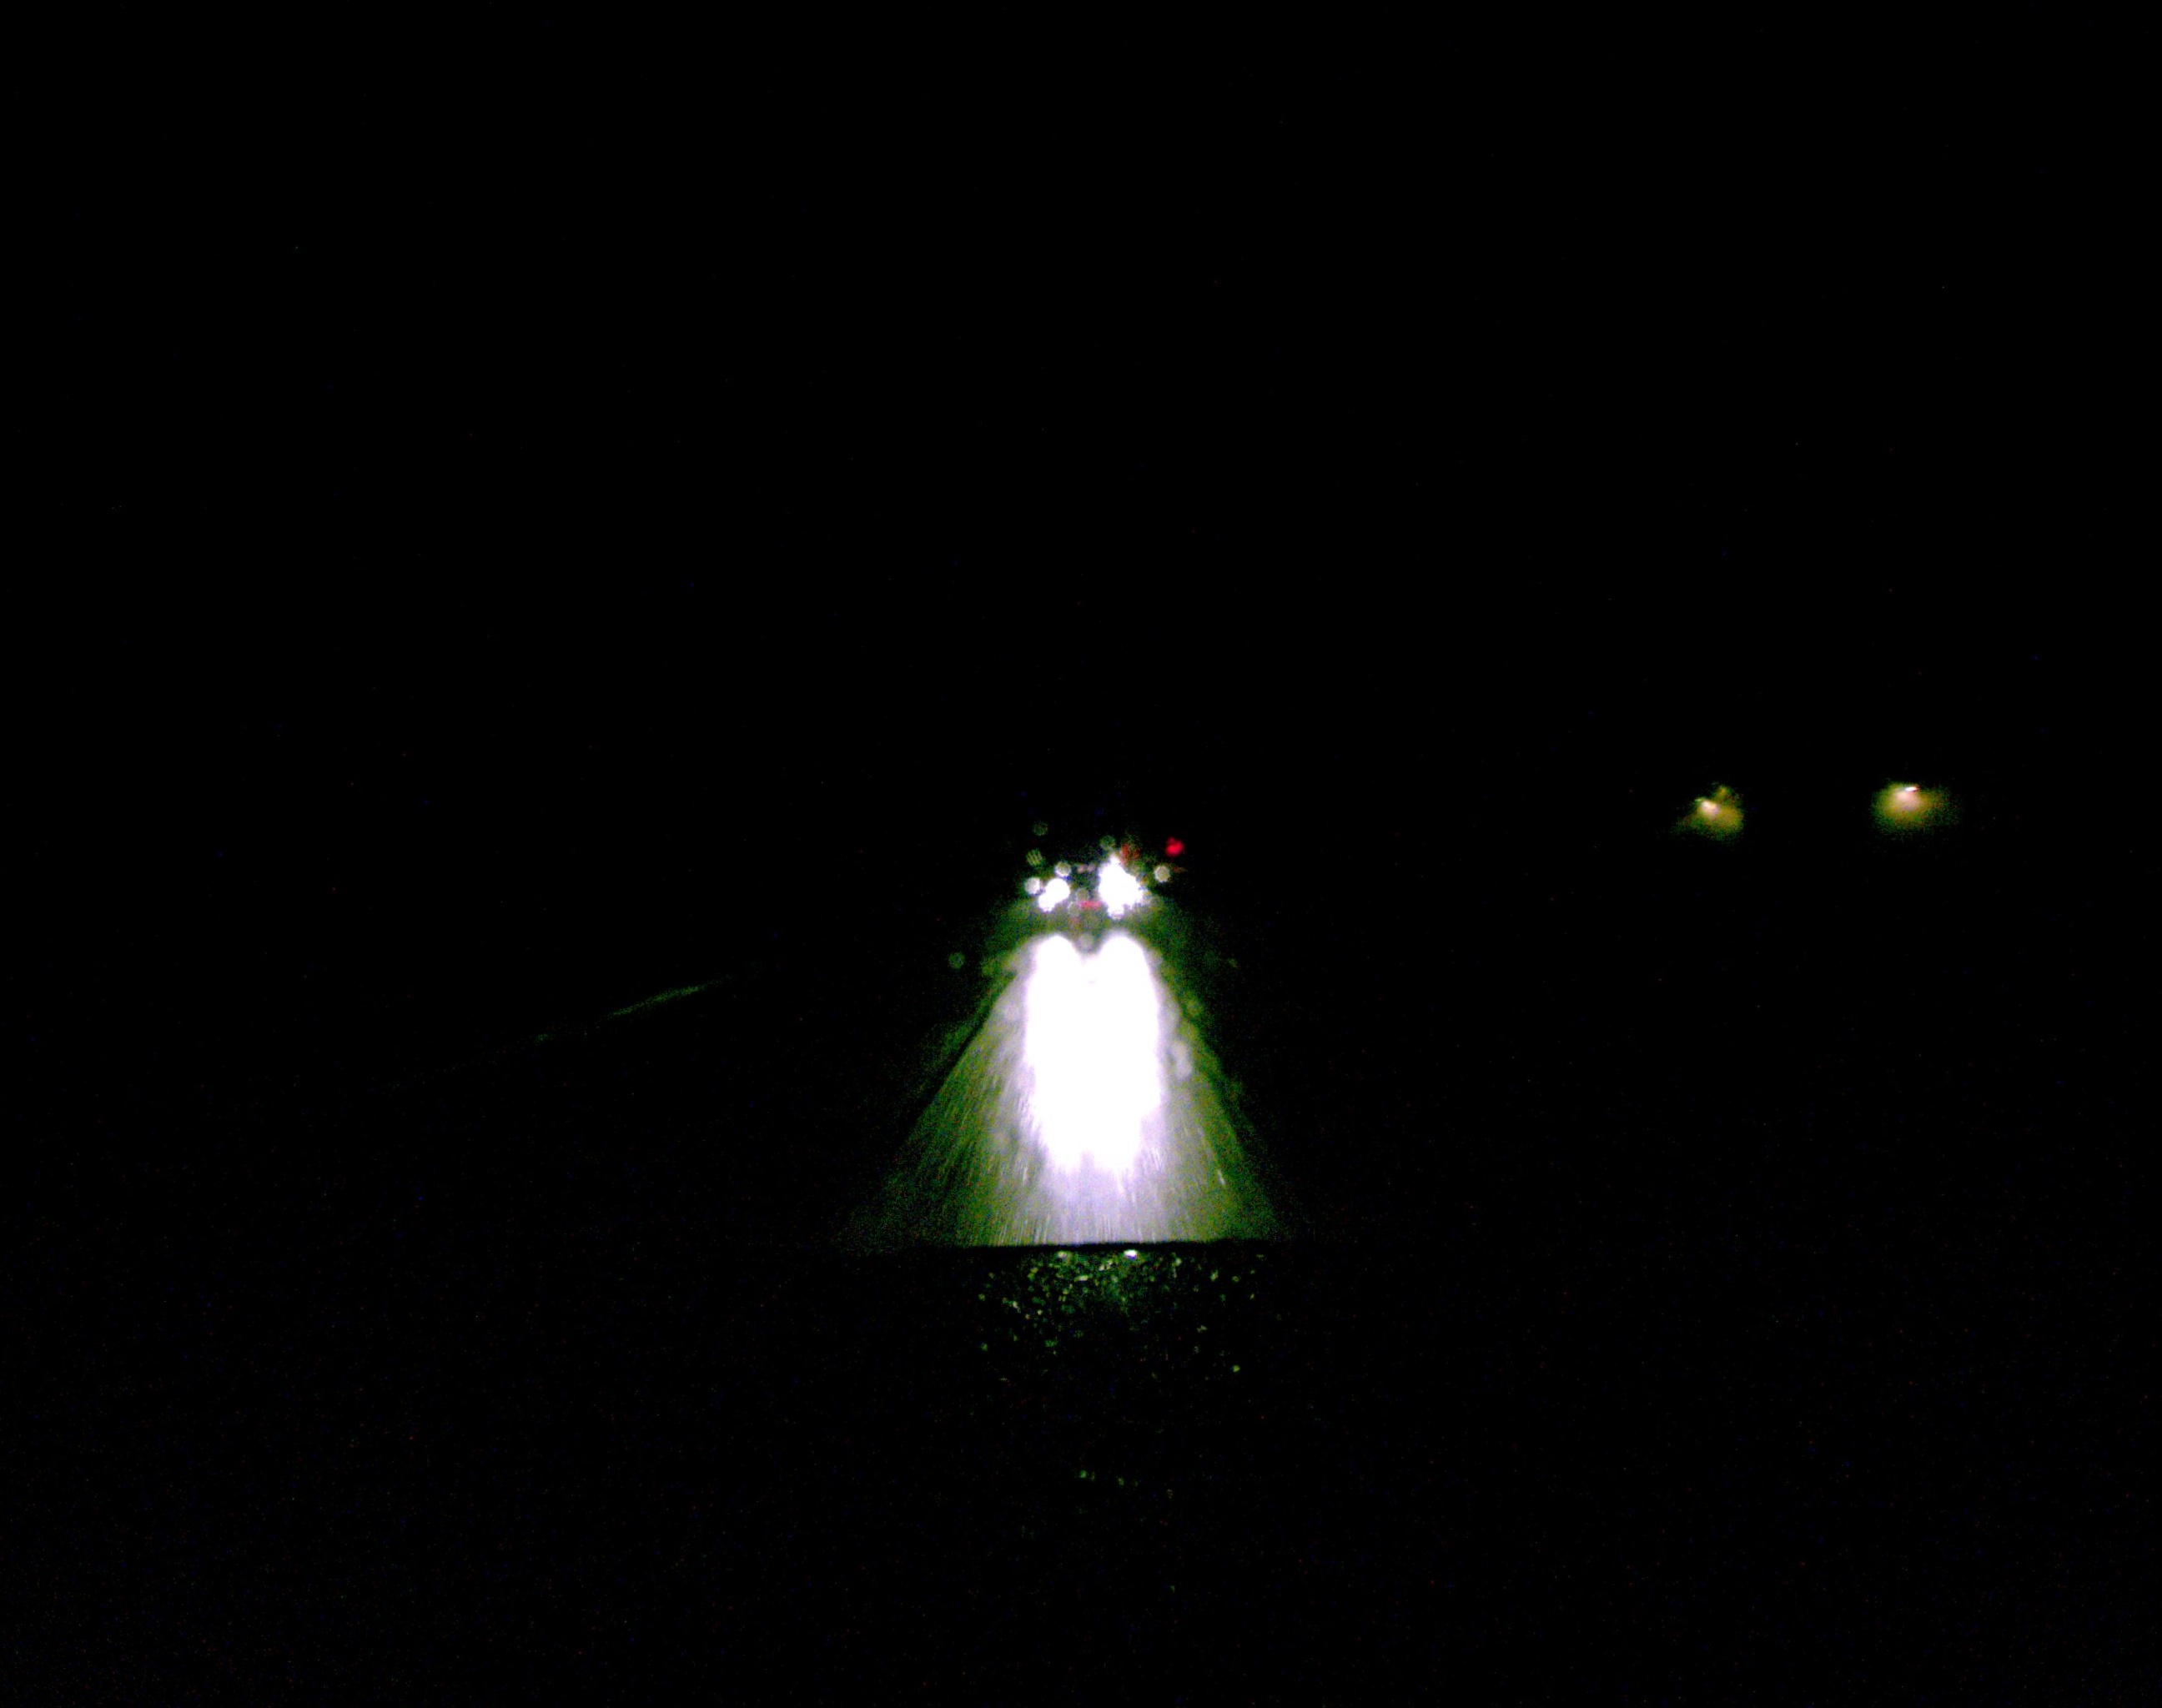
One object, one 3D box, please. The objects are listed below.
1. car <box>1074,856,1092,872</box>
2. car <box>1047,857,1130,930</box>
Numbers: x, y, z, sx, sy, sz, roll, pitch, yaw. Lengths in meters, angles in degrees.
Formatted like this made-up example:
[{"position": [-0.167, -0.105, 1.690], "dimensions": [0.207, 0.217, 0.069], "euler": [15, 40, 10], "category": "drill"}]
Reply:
[{"position": [0.191, 1.046, 82.418], "dimensions": [1.846, 1.565, 4.000], "euler": [-2, 0, 1], "category": "car"}, {"position": [0.206, 0.905, 19.202], "dimensions": [1.846, 1.565, 4.000], "euler": [-2, 0, 1], "category": "car"}]
